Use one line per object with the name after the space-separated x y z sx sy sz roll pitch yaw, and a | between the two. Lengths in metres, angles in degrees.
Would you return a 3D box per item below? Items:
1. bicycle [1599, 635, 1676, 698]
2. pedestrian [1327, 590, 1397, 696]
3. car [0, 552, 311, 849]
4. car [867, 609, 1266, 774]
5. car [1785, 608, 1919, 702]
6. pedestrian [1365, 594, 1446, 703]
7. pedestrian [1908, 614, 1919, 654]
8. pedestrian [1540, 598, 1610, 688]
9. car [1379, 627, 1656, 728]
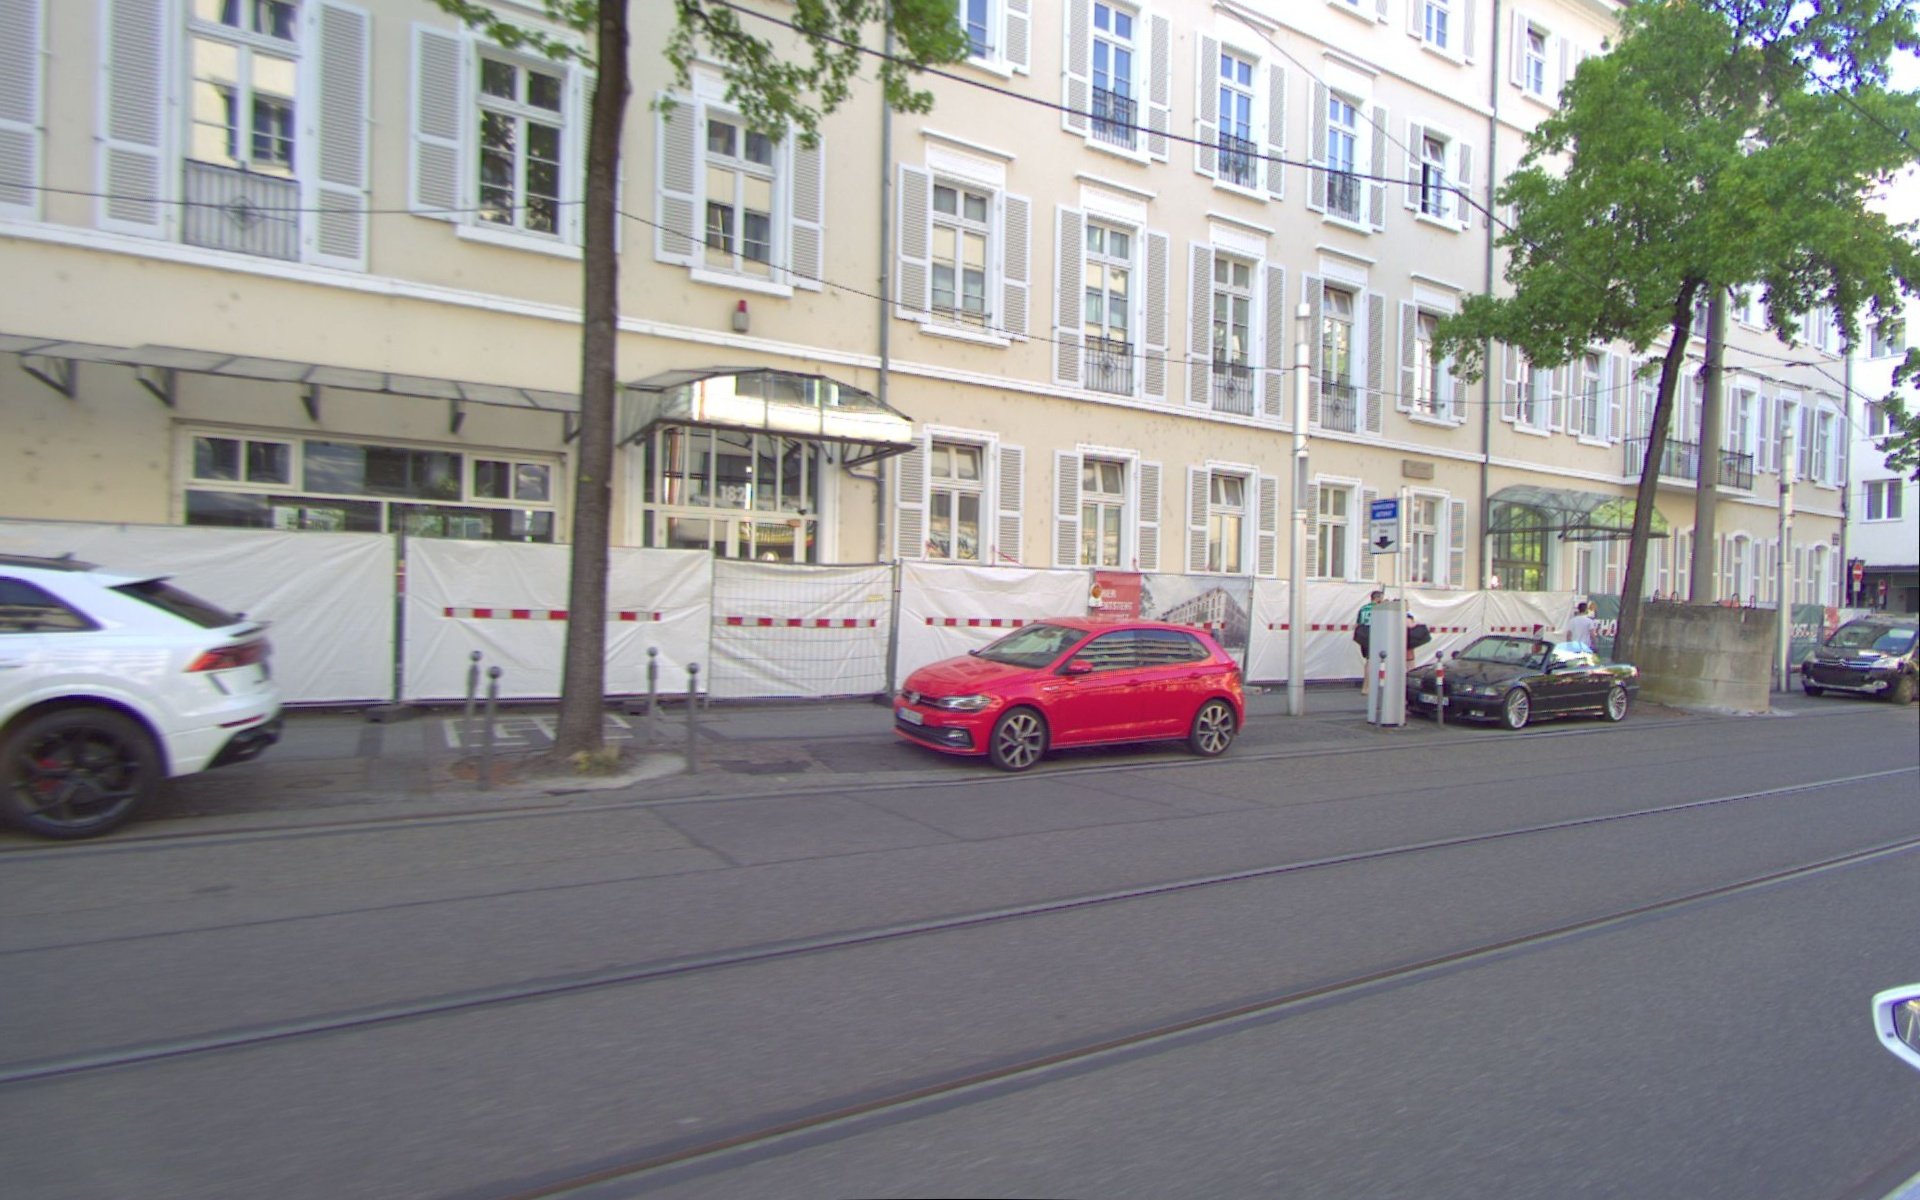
13.840 1.331 20.509 2.031 1.137 0.751 1 3 -41 | bicycle
7.279 0.770 18.202 0.866 1.837 0.715 1 3 -30 | pedestrian
-6.905 0.547 6.140 4.899 1.711 1.854 1 3 -33 | car
1.208 0.895 10.942 4.091 1.424 1.652 1 2 -29 | car
20.480 1.173 22.228 4.503 1.857 1.849 1 1 -29 | car
7.742 0.827 17.470 0.874 1.806 0.861 1 3 -30 | pedestrian
39.531 1.409 41.352 0.608 1.625 0.405 1 0 4 | pedestrian
12.860 0.886 21.007 0.972 1.816 0.771 1 2 -28 | pedestrian
8.729 1.130 15.631 4.455 1.262 1.709 1 2 -31 | car
